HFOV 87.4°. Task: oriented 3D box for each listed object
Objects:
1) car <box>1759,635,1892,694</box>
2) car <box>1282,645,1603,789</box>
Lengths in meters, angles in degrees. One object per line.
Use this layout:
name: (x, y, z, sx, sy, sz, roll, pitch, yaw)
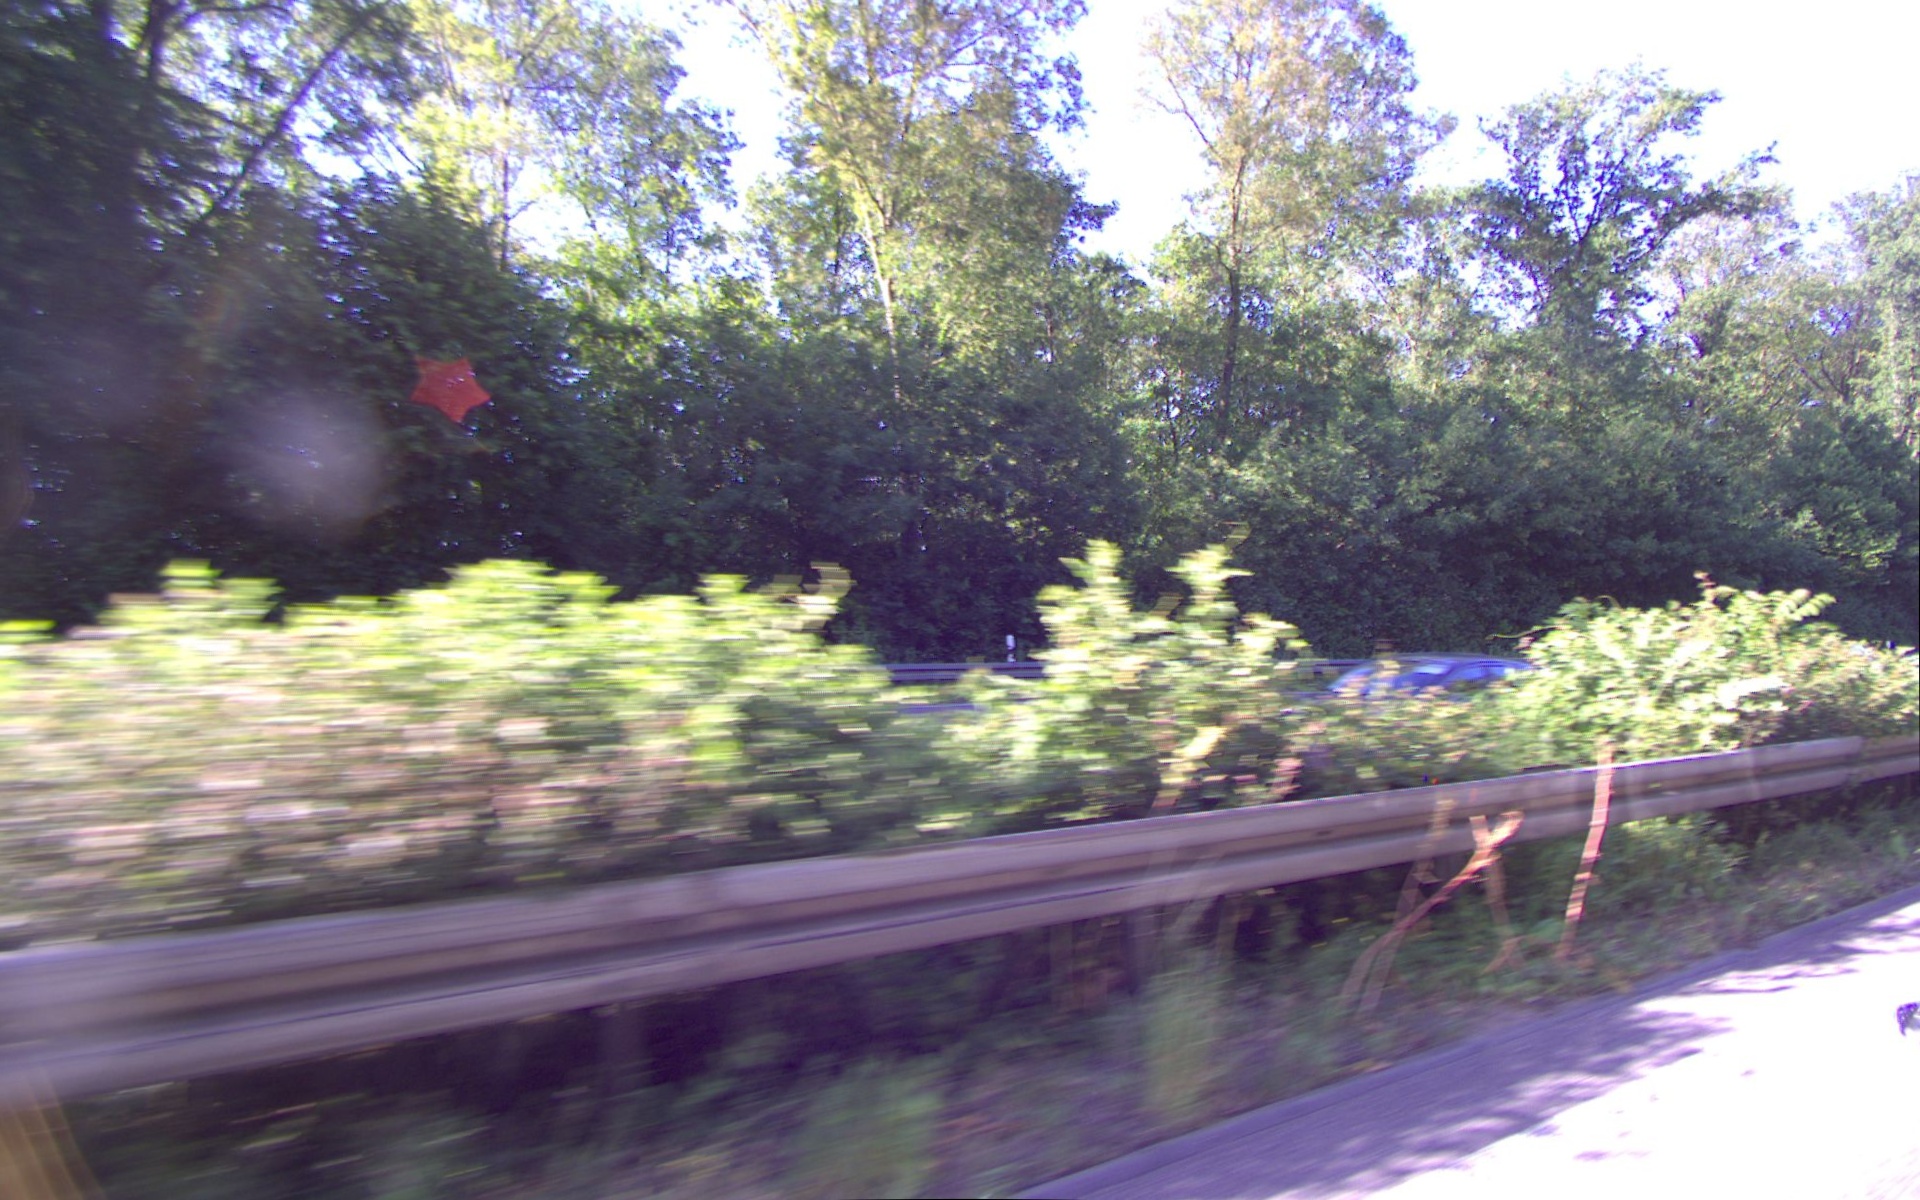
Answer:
car: (26.854, 1.953, 31.127, 4.454, 1.648, 1.886, 2, -1, -32)
car: (6.093, 1.355, 12.590, 3.953, 1.476, 1.698, 2, -1, -30)
